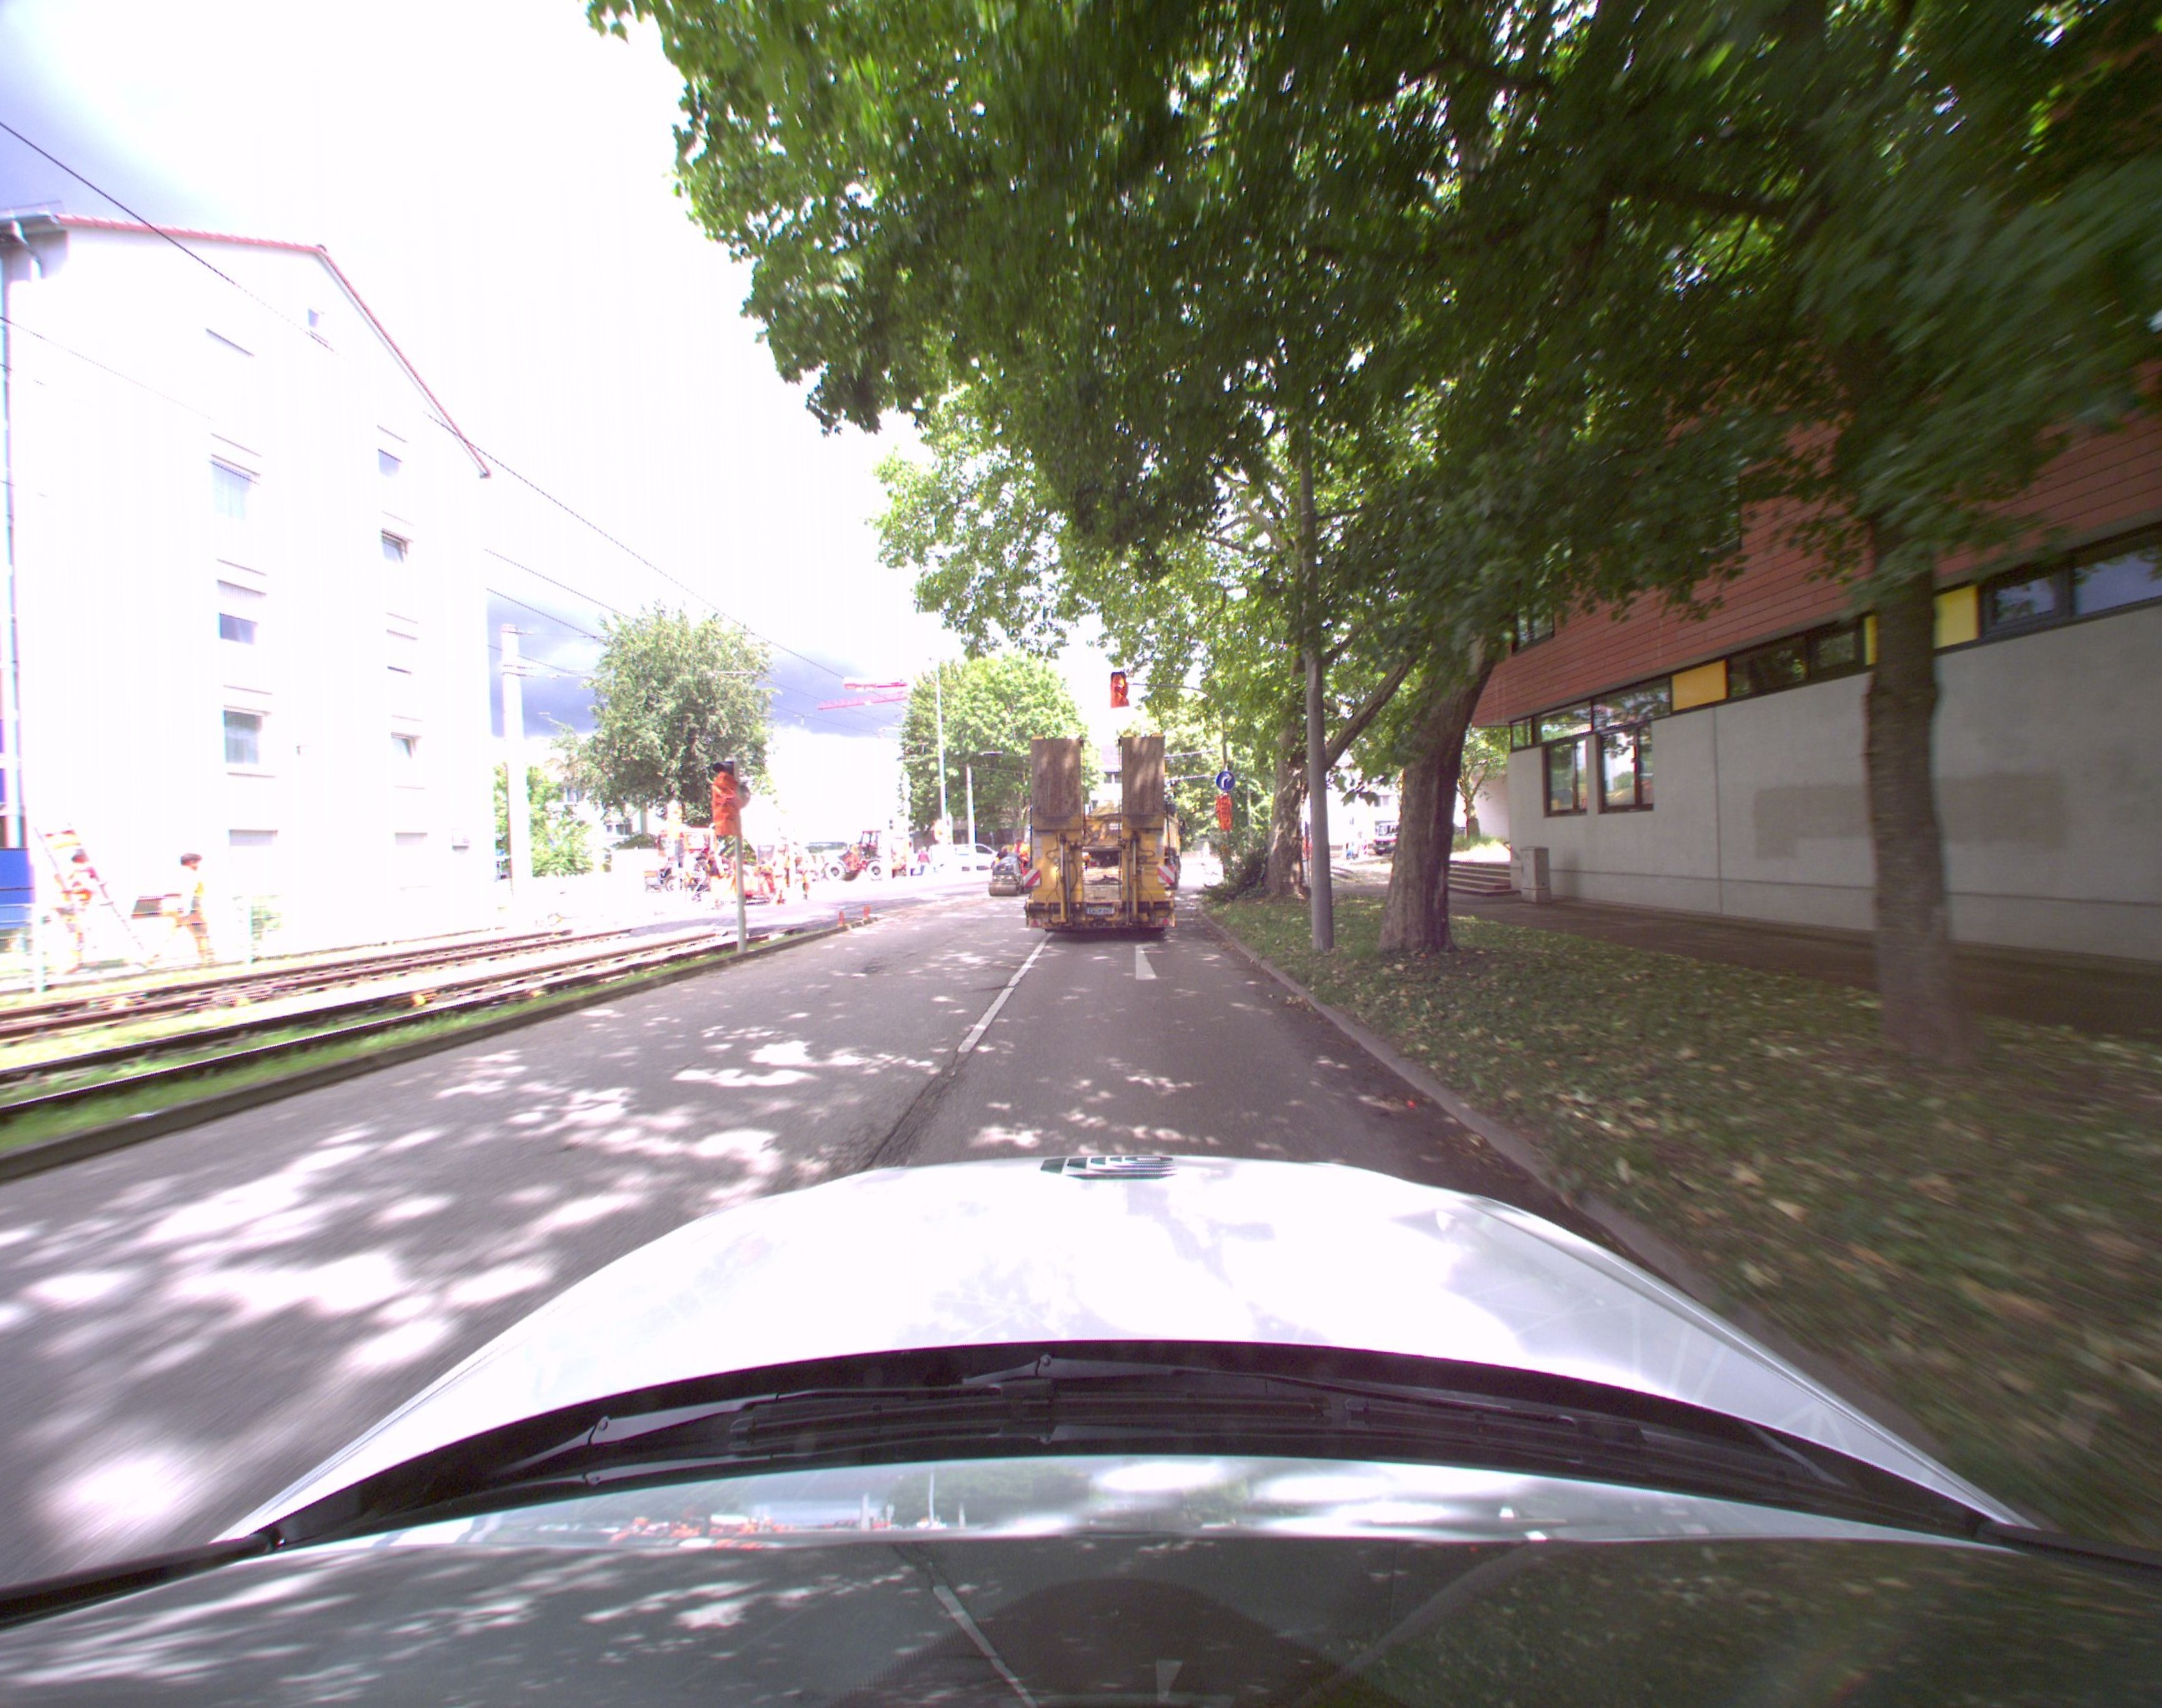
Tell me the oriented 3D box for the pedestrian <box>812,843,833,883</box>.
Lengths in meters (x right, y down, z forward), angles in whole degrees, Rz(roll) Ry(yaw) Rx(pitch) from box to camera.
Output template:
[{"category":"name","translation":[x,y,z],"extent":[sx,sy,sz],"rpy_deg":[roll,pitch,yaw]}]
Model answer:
[{"category":"pedestrian","translation":[-12.464,0.416,39.253],"extent":[0.834,1.867,0.885],"rpy_deg":[-1,0,-10]}]

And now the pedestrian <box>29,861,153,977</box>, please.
[{"category":"pedestrian","translation":[-14.599,0.932,12.032],"extent":[0.729,1.625,0.867],"rpy_deg":[-2,0,2]}]

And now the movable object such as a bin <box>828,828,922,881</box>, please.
[{"category":"movable object such as a bin","translation":[-10.736,0.030,42.454],"extent":[4.325,2.629,2.234],"rpy_deg":[-1,0,28]}]

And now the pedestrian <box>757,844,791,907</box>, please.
[{"category":"pedestrian","translation":[-9.408,0.639,24.947],"extent":[0.890,1.867,0.830],"rpy_deg":[-1,0,-27]}]

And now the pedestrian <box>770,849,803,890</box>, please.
[{"category":"pedestrian","translation":[-12.110,0.613,33.505],"extent":[0.879,1.645,0.903],"rpy_deg":[-1,0,12]}]

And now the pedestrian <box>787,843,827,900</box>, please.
[{"category":"pedestrian","translation":[-9.119,0.579,27.125],"extent":[0.877,1.867,0.842],"rpy_deg":[-1,0,31]}]

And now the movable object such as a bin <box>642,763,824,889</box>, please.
[{"category":"movable object such as a bin","translation":[-16.522,-1.126,38.376],"extent":[9.115,5.414,2.680],"rpy_deg":[-1,0,28]}]

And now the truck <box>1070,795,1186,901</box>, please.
[{"category":"truck","translation":[1.891,-0.181,28.358],"extent":[2.970,3.135,7.911],"rpy_deg":[-1,0,11]}]

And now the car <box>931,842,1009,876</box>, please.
[{"category":"car","translation":[-7.482,0.327,54.745],"extent":[5.094,2.102,1.968],"rpy_deg":[-1,0,-13]}]

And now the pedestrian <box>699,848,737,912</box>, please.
[{"category":"pedestrian","translation":[-10.310,0.709,23.107],"extent":[0.890,1.760,0.829],"rpy_deg":[-1,0,-29]}]

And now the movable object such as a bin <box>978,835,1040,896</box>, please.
[{"category":"movable object such as a bin","translation":[-2.473,0.370,28.525],"extent":[1.389,2.013,2.565],"rpy_deg":[-1,0,13]}]

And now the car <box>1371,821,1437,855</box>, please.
[{"category":"car","translation":[23.442,-1.156,59.167],"extent":[4.261,2.365,2.140],"rpy_deg":[-1,0,-26]}]

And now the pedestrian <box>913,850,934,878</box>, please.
[{"category":"pedestrian","translation":[-8.076,0.507,41.890],"extent":[0.913,1.409,0.753],"rpy_deg":[-1,0,-1]}]

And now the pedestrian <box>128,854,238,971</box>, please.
[{"category":"pedestrian","translation":[-13.756,0.868,12.501],"extent":[0.697,1.718,0.867],"rpy_deg":[-1,0,2]}]

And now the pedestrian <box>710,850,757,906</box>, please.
[{"category":"pedestrian","translation":[-10.972,0.729,25.722],"extent":[1.117,1.715,0.877],"rpy_deg":[-1,0,-42]}]

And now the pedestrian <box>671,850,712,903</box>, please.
[{"category":"pedestrian","translation":[-12.463,0.711,26.053],"extent":[0.826,1.645,0.894],"rpy_deg":[-1,0,39]}]

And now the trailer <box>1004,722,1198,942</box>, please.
[{"category":"trailer","translation":[0.880,-0.349,18.978],"extent":[3.138,3.552,11.115],"rpy_deg":[-1,0,6]}]
